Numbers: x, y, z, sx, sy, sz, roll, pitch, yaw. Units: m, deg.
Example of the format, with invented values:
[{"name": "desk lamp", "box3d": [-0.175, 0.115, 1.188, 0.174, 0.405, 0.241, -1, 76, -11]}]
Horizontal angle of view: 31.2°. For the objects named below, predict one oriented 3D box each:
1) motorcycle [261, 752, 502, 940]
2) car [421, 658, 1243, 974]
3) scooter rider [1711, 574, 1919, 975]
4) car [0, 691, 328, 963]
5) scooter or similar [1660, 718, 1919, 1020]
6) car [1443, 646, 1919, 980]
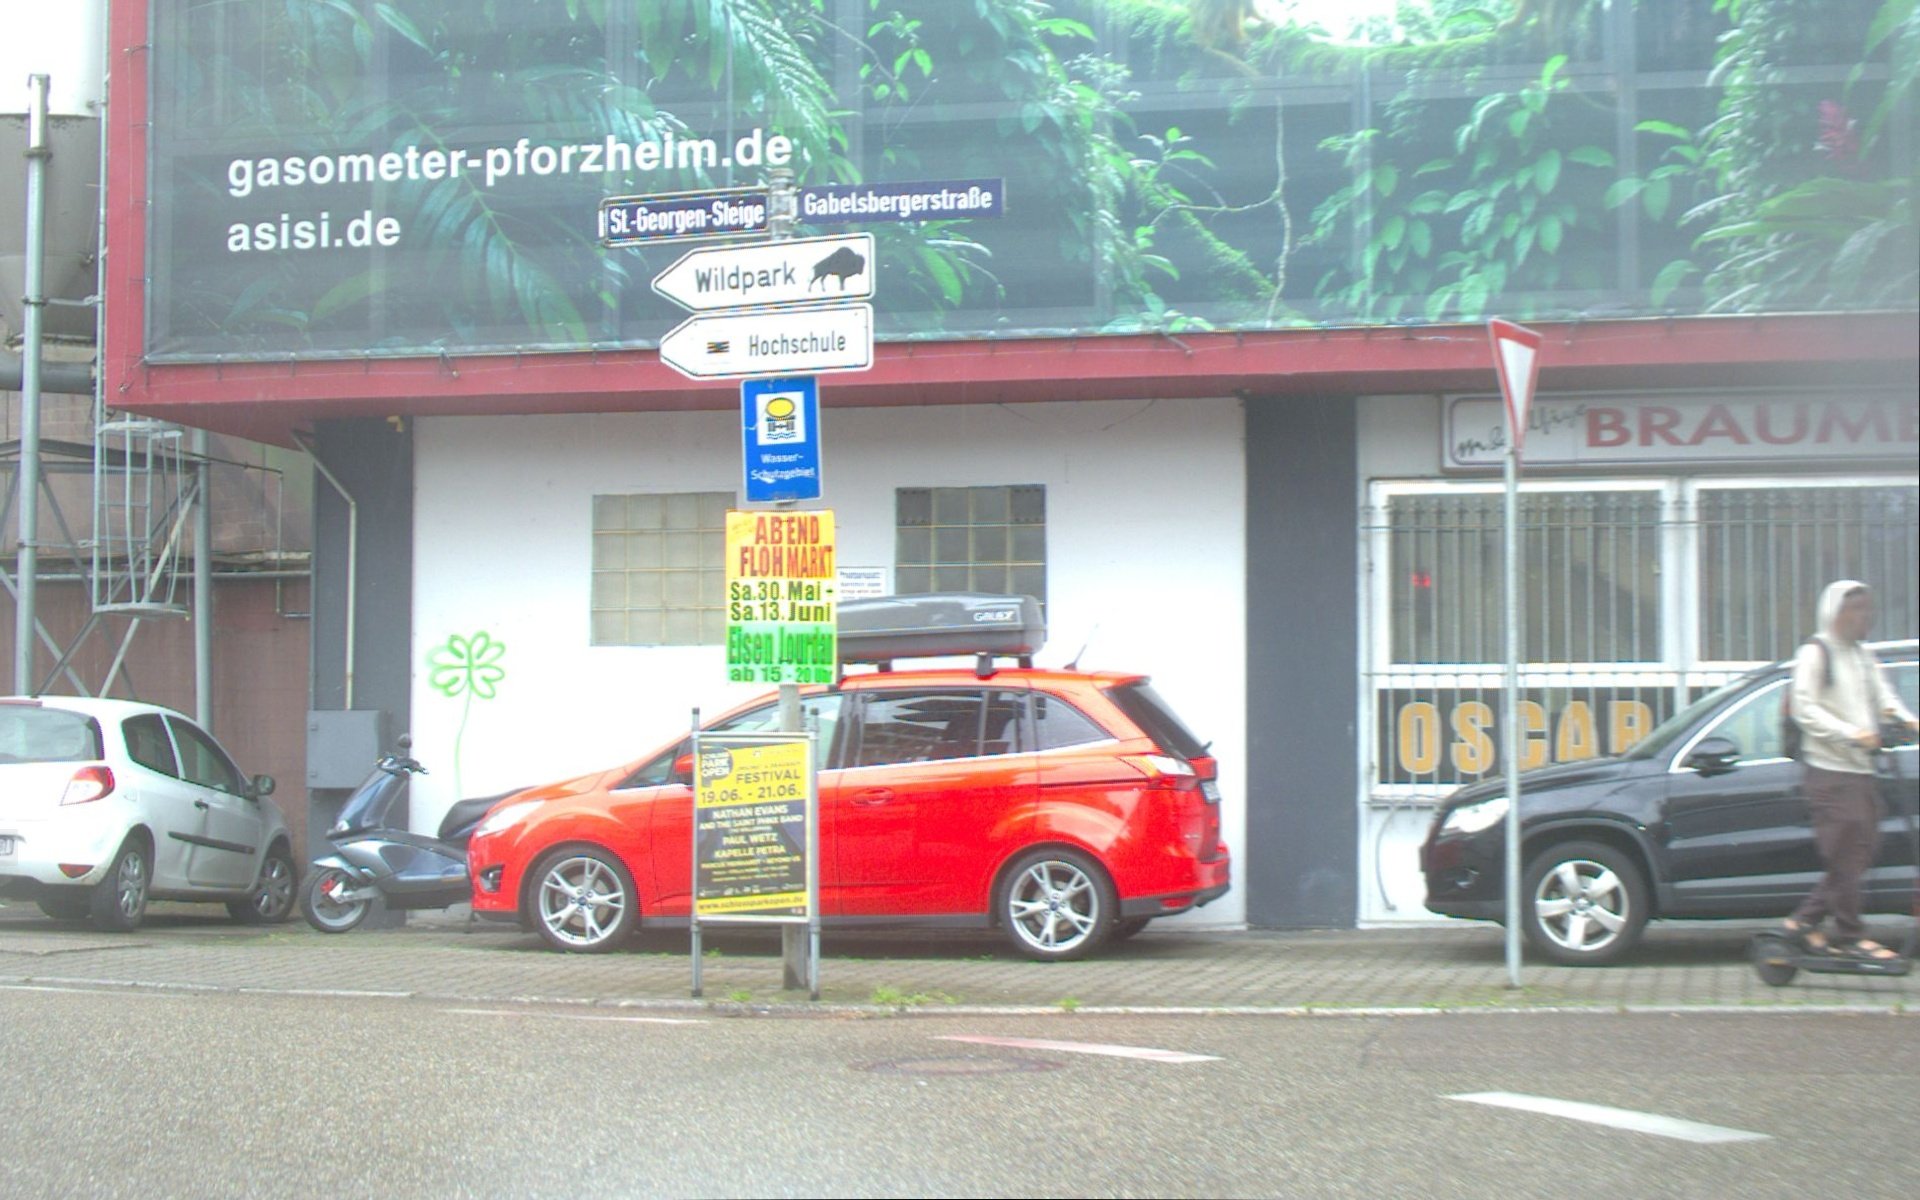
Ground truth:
[{"name": "motorcycle", "box3d": [-3.620, 1.536, 21.565, 1.418, 1.157, 0.452, 0, -3, 1]}, {"name": "car", "box3d": [-0.702, 1.220, 20.257, 4.480, 1.706, 1.931, 0, -2, 14]}, {"name": "scooter rider", "box3d": [4.097, 0.796, 16.134, 0.802, 1.815, 0.781, 0, -1, -45]}, {"name": "car", "box3d": [-5.855, 1.445, 23.175, 1.870, 1.528, 3.991, 0, 0, 10]}, {"name": "scooter or similar", "box3d": [4.115, 1.228, 16.123, 0.802, 1.318, 1.408, 0, -1, -44]}, {"name": "car", "box3d": [4.732, 1.115, 18.625, 3.989, 1.706, 1.931, -2, -1, 14]}]
